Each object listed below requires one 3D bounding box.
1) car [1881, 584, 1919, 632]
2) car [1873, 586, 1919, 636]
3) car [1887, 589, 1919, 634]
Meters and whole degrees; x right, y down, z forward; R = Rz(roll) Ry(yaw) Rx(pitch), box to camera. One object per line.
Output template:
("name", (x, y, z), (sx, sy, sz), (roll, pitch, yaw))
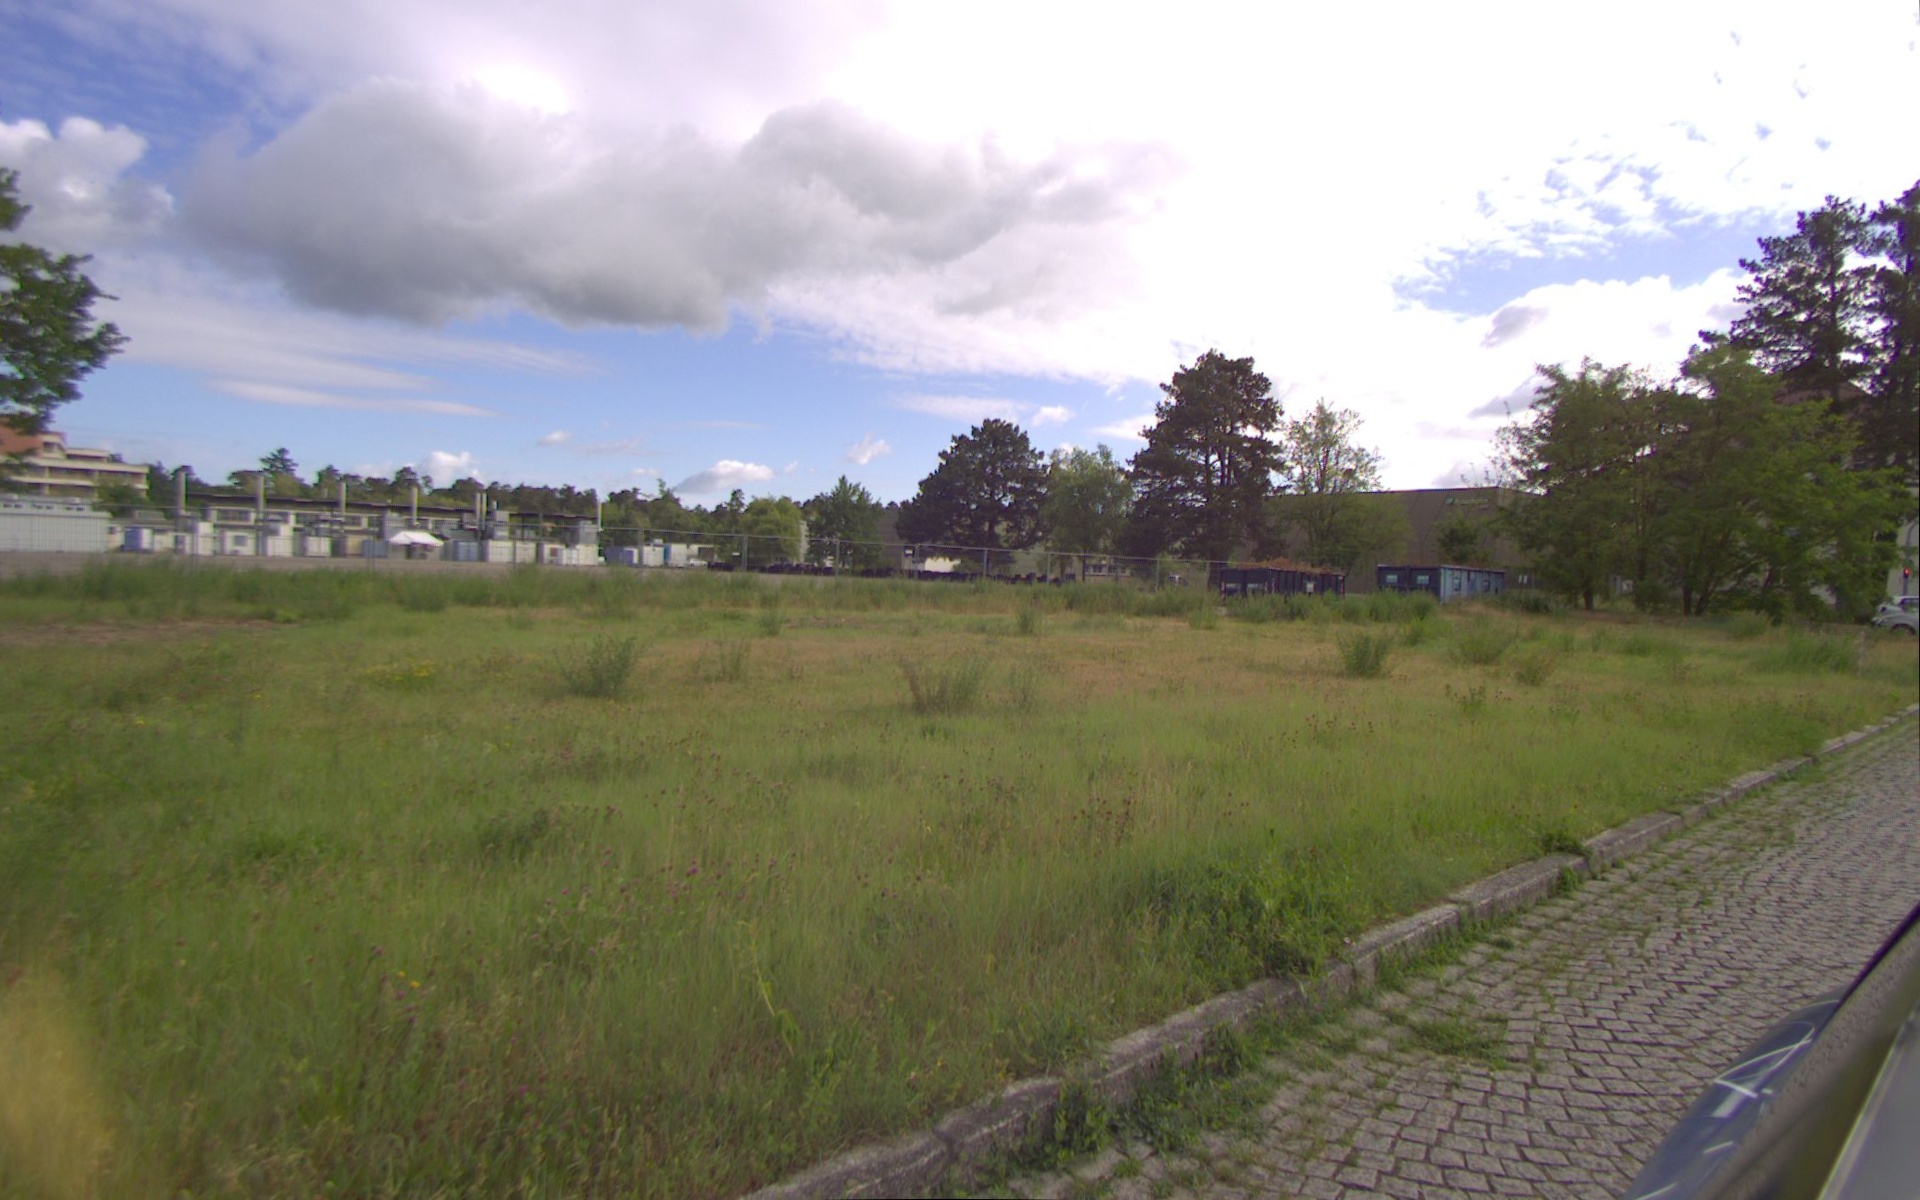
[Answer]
("car", (36.240, 0.444, 36.502), (1.853, 1.615, 4.248), (0, 5, -43))
("car", (32.443, 0.501, 32.724), (1.773, 1.532, 4.083), (0, 5, -42))
("car", (34.475, 0.540, 34.442), (1.853, 1.470, 4.083), (0, 5, -42))
